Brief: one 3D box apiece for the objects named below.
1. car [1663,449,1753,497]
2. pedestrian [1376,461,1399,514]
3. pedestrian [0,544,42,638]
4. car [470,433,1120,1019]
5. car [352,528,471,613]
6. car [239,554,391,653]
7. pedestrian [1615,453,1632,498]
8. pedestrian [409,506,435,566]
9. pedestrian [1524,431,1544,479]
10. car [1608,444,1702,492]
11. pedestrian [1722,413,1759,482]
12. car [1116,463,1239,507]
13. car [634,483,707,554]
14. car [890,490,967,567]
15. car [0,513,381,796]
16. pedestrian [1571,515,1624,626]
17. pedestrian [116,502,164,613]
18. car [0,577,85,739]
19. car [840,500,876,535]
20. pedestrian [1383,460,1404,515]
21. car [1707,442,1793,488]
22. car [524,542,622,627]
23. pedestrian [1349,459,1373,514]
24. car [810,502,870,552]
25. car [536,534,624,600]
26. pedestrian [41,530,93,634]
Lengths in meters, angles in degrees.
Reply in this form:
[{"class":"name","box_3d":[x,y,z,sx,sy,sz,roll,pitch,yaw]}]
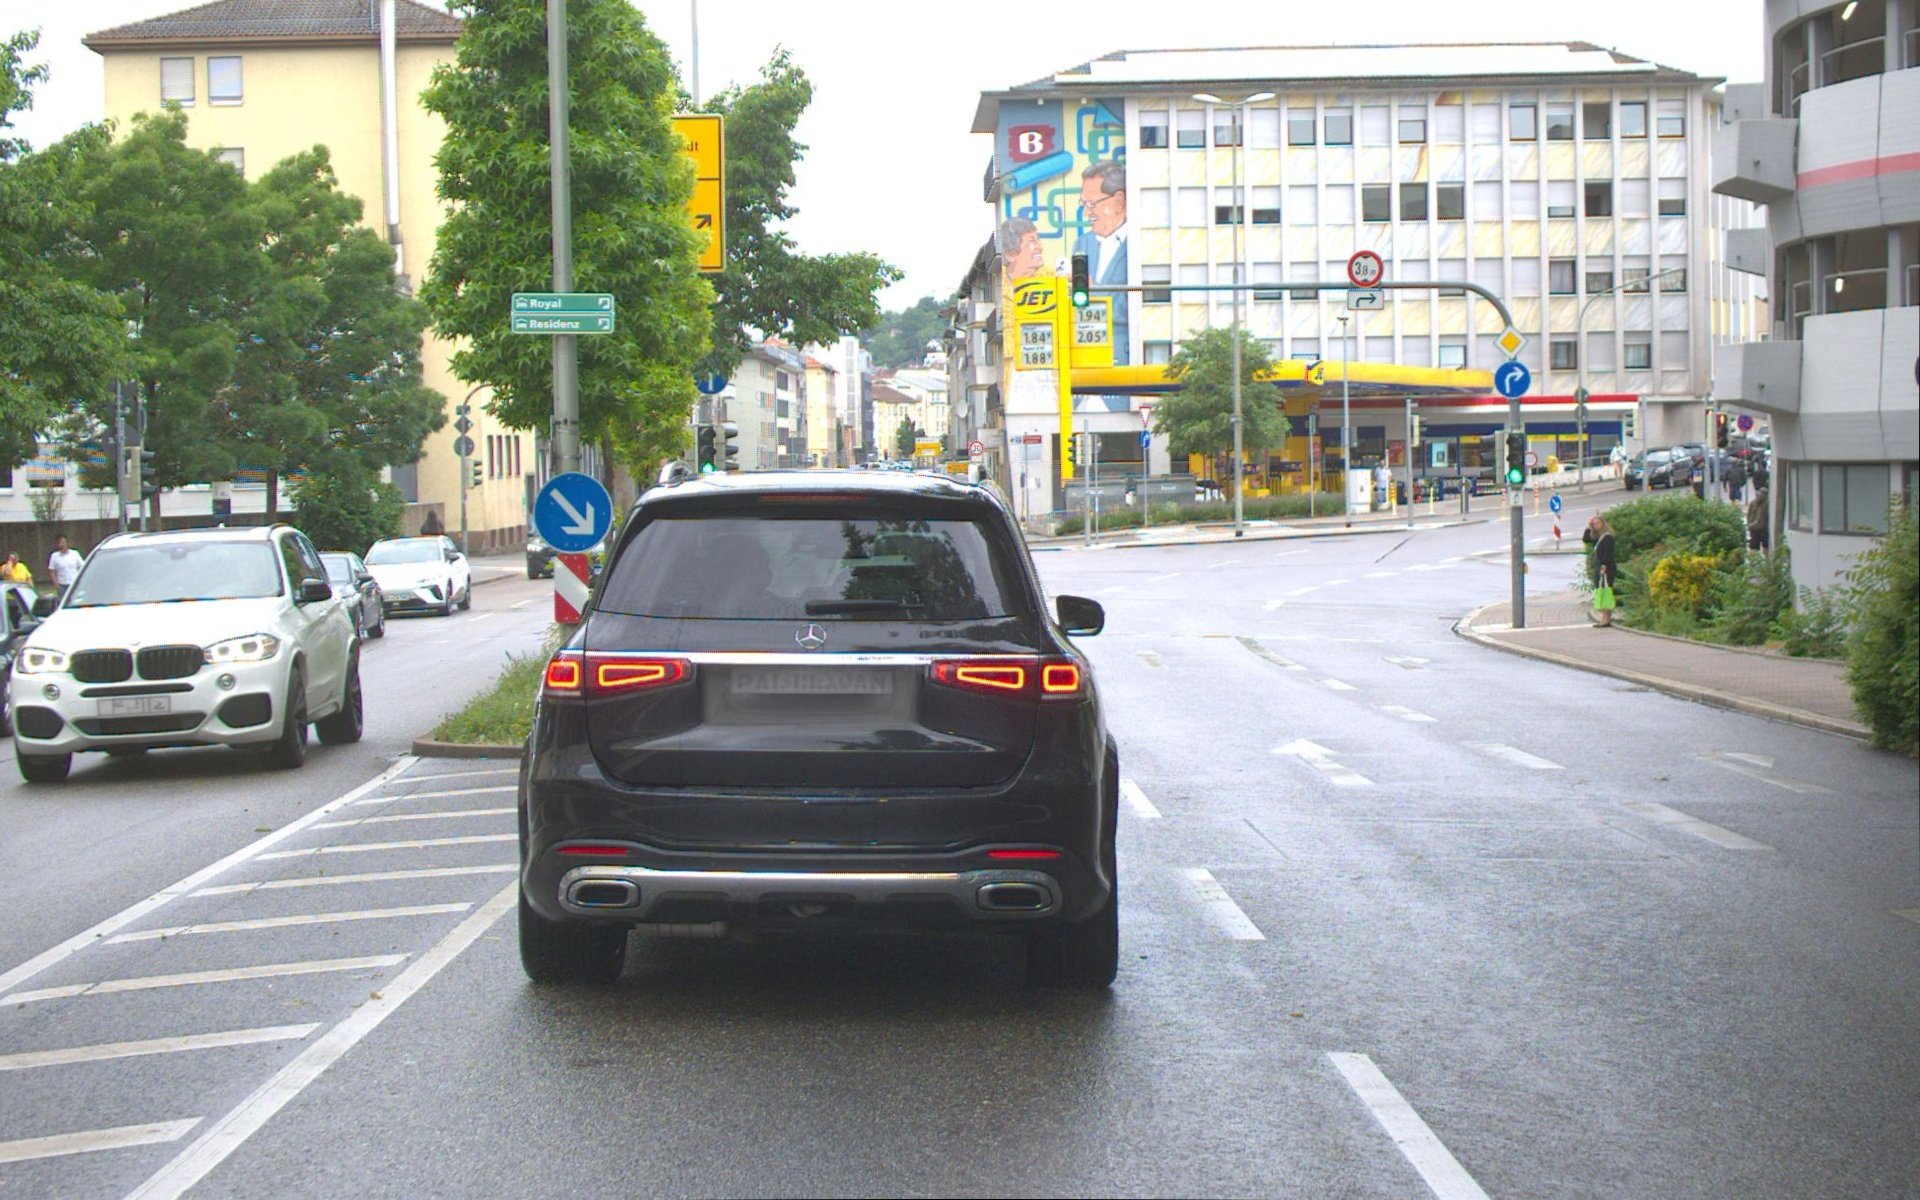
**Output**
[{"class":"car","box_3d":[28.368,-4.819,130.249,1.997,1.700,3.993,0,2,33]},{"class":"pedestrian","box_3d":[13.851,-3.642,111.431,0.526,1.721,0.688,0,2,27]},{"class":"pedestrian","box_3d":[-15.450,-0.149,56.439,0.439,1.528,0.545,-1,2,26]},{"class":"car","box_3d":[-0.535,0.380,12.719,1.993,1.794,4.000,1,0,-1]},{"class":"car","box_3d":[-10.371,-0.580,65.257,1.732,1.464,4.232,-3,1,-3]},{"class":"car","box_3d":[-10.020,0.022,53.640,1.732,1.389,4.200,-3,1,-3]},{"class":"pedestrian","box_3d":[24.858,-4.662,128.802,0.484,1.635,0.438,1,0,28]},{"class":"pedestrian","box_3d":[-15.529,-1.859,99.302,0.648,1.721,0.629,-2,2,-4]},{"class":"pedestrian","box_3d":[20.735,-5.220,124.098,0.526,1.721,0.688,0,2,27]},{"class":"car","box_3d":[25.492,-4.843,125.982,1.997,1.700,3.993,0,2,33]},{"class":"pedestrian","box_3d":[24.511,-4.776,107.984,0.854,2.121,0.948,-2,2,-6]},{"class":"car","box_3d":[7.320,-3.860,115.977,1.732,1.371,3.998,-3,2,-44]},{"class":"car","box_3d":[-8.106,-2.279,96.553,1.792,1.847,4.793,-3,1,-3]},{"class":"car","box_3d":[-0.868,-1.915,93.378,1.993,2.007,4.000,1,0,-1]},{"class":"car","box_3d":[-5.619,0.326,25.390,1.891,1.805,4.575,-3,1,-1]},{"class":"pedestrian","box_3d":[9.805,-0.452,52.846,0.646,1.704,0.470,1,0,36]},{"class":"pedestrian","box_3d":[-13.147,-0.686,55.154,0.687,1.751,0.718,-1,2,-11]},{"class":"car","box_3d":[-9.522,0.554,32.162,1.745,1.407,3.971,-3,1,-2]},{"class":"car","box_3d":[-6.151,-4.952,206.779,1.993,2.007,4.000,1,0,0]},{"class":"pedestrian","box_3d":[13.578,-3.520,107.693,0.572,1.691,0.631,1,0,1]},{"class":"car","box_3d":[30.911,-5.293,134.451,1.997,1.700,3.993,0,2,33]},{"class":"car","box_3d":[-8.146,-0.351,72.555,1.732,1.620,4.232,-3,1,-3]},{"class":"pedestrian","box_3d":[12.855,-3.642,110.297,0.527,1.721,0.688,0,2,29]},{"class":"car","box_3d":[-4.071,-2.460,116.991,1.993,1.609,4.190,1,0,-2]},{"class":"car","box_3d":[-9.921,-0.889,90.117,1.888,1.581,4.537,-3,1,-2]},{"class":"pedestrian","box_3d":[-14.446,-0.297,55.635,0.689,1.650,0.613,-2,2,-7]}]
